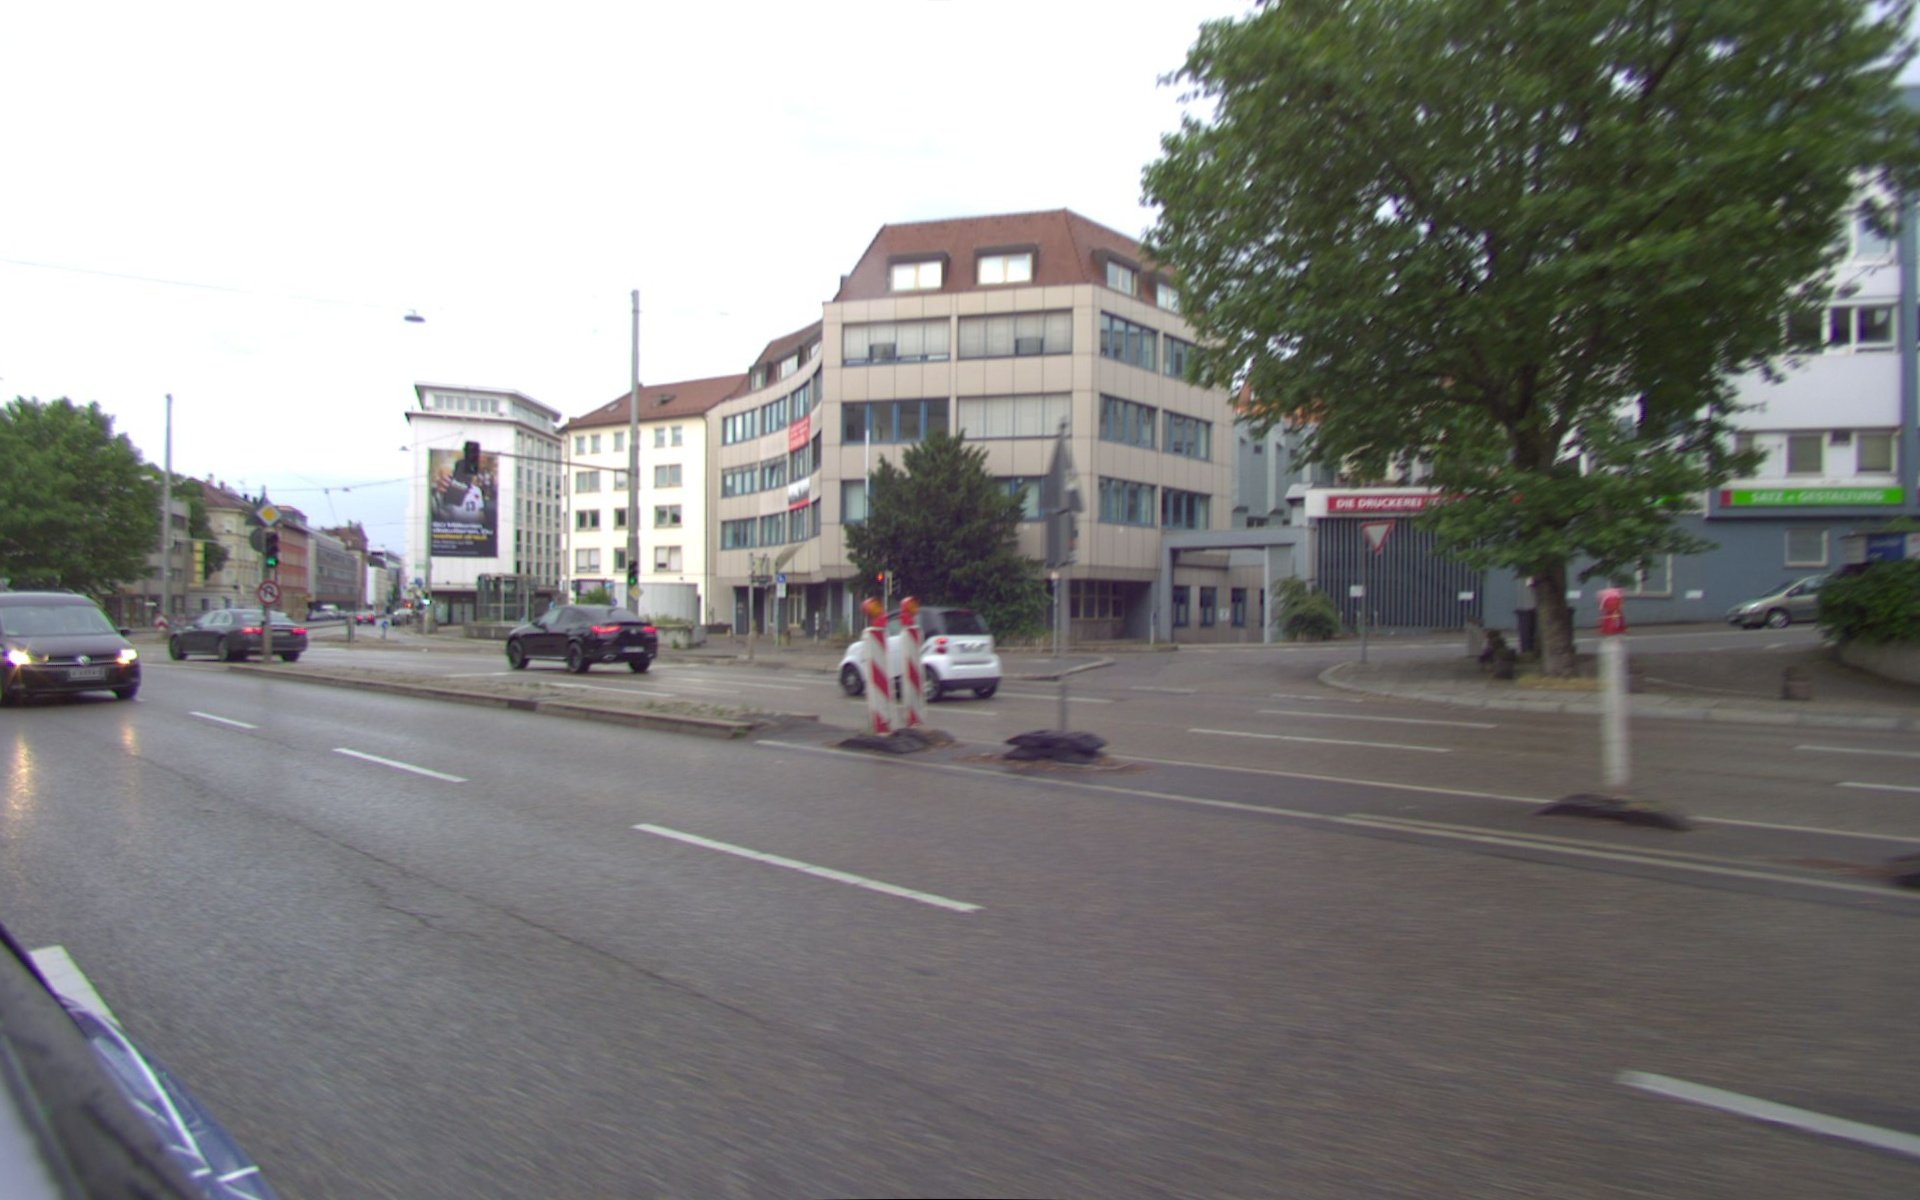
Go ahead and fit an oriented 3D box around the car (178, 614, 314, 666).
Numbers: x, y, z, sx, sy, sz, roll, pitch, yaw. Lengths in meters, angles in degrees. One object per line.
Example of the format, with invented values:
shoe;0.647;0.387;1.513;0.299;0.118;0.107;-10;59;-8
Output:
car;-24.775;1.361;35.097;4.563;1.695;1.757;0;-2;24

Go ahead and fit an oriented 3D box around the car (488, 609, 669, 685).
car;-9.448;1.136;24.872;4.933;1.690;1.973;-2;-3;40

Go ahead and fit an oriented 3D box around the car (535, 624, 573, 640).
car;-41.258;3.229;102.855;1.895;1.603;3.992;0;-2;6

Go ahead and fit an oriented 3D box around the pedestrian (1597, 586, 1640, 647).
pedestrian;22.226;0.552;34.180;0.972;2.029;0.837;0;-2;15

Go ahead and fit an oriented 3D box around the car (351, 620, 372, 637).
car;-69.562;3.288;117.591;1.966;1.857;4.454;2;-2;-30

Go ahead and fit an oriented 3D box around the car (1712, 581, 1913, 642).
car;25.761;0.389;30.754;4.139;1.474;1.829;-5;-4;15

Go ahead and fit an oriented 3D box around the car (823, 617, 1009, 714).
car;-0.792;1.073;17.205;2.949;1.496;1.539;-2;-3;43

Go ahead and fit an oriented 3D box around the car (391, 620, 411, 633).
car;-70.925;3.407;128.469;1.843;1.590;4.013;1;-2;-23

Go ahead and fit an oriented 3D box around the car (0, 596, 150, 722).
car;-15.095;0.886;16.542;4.114;1.813;1.776;-1;-1;34

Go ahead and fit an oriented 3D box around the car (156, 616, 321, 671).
car;-20.701;1.235;28.987;4.918;1.449;1.979;-1;-3;30

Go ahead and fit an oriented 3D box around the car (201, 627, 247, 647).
car;-54.407;2.741;74.887;1.966;1.462;4.242;1;-2;-26

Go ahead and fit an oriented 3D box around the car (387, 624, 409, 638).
car;-66.312;3.646;119.386;1.843;1.590;4.013;1;-2;-23
